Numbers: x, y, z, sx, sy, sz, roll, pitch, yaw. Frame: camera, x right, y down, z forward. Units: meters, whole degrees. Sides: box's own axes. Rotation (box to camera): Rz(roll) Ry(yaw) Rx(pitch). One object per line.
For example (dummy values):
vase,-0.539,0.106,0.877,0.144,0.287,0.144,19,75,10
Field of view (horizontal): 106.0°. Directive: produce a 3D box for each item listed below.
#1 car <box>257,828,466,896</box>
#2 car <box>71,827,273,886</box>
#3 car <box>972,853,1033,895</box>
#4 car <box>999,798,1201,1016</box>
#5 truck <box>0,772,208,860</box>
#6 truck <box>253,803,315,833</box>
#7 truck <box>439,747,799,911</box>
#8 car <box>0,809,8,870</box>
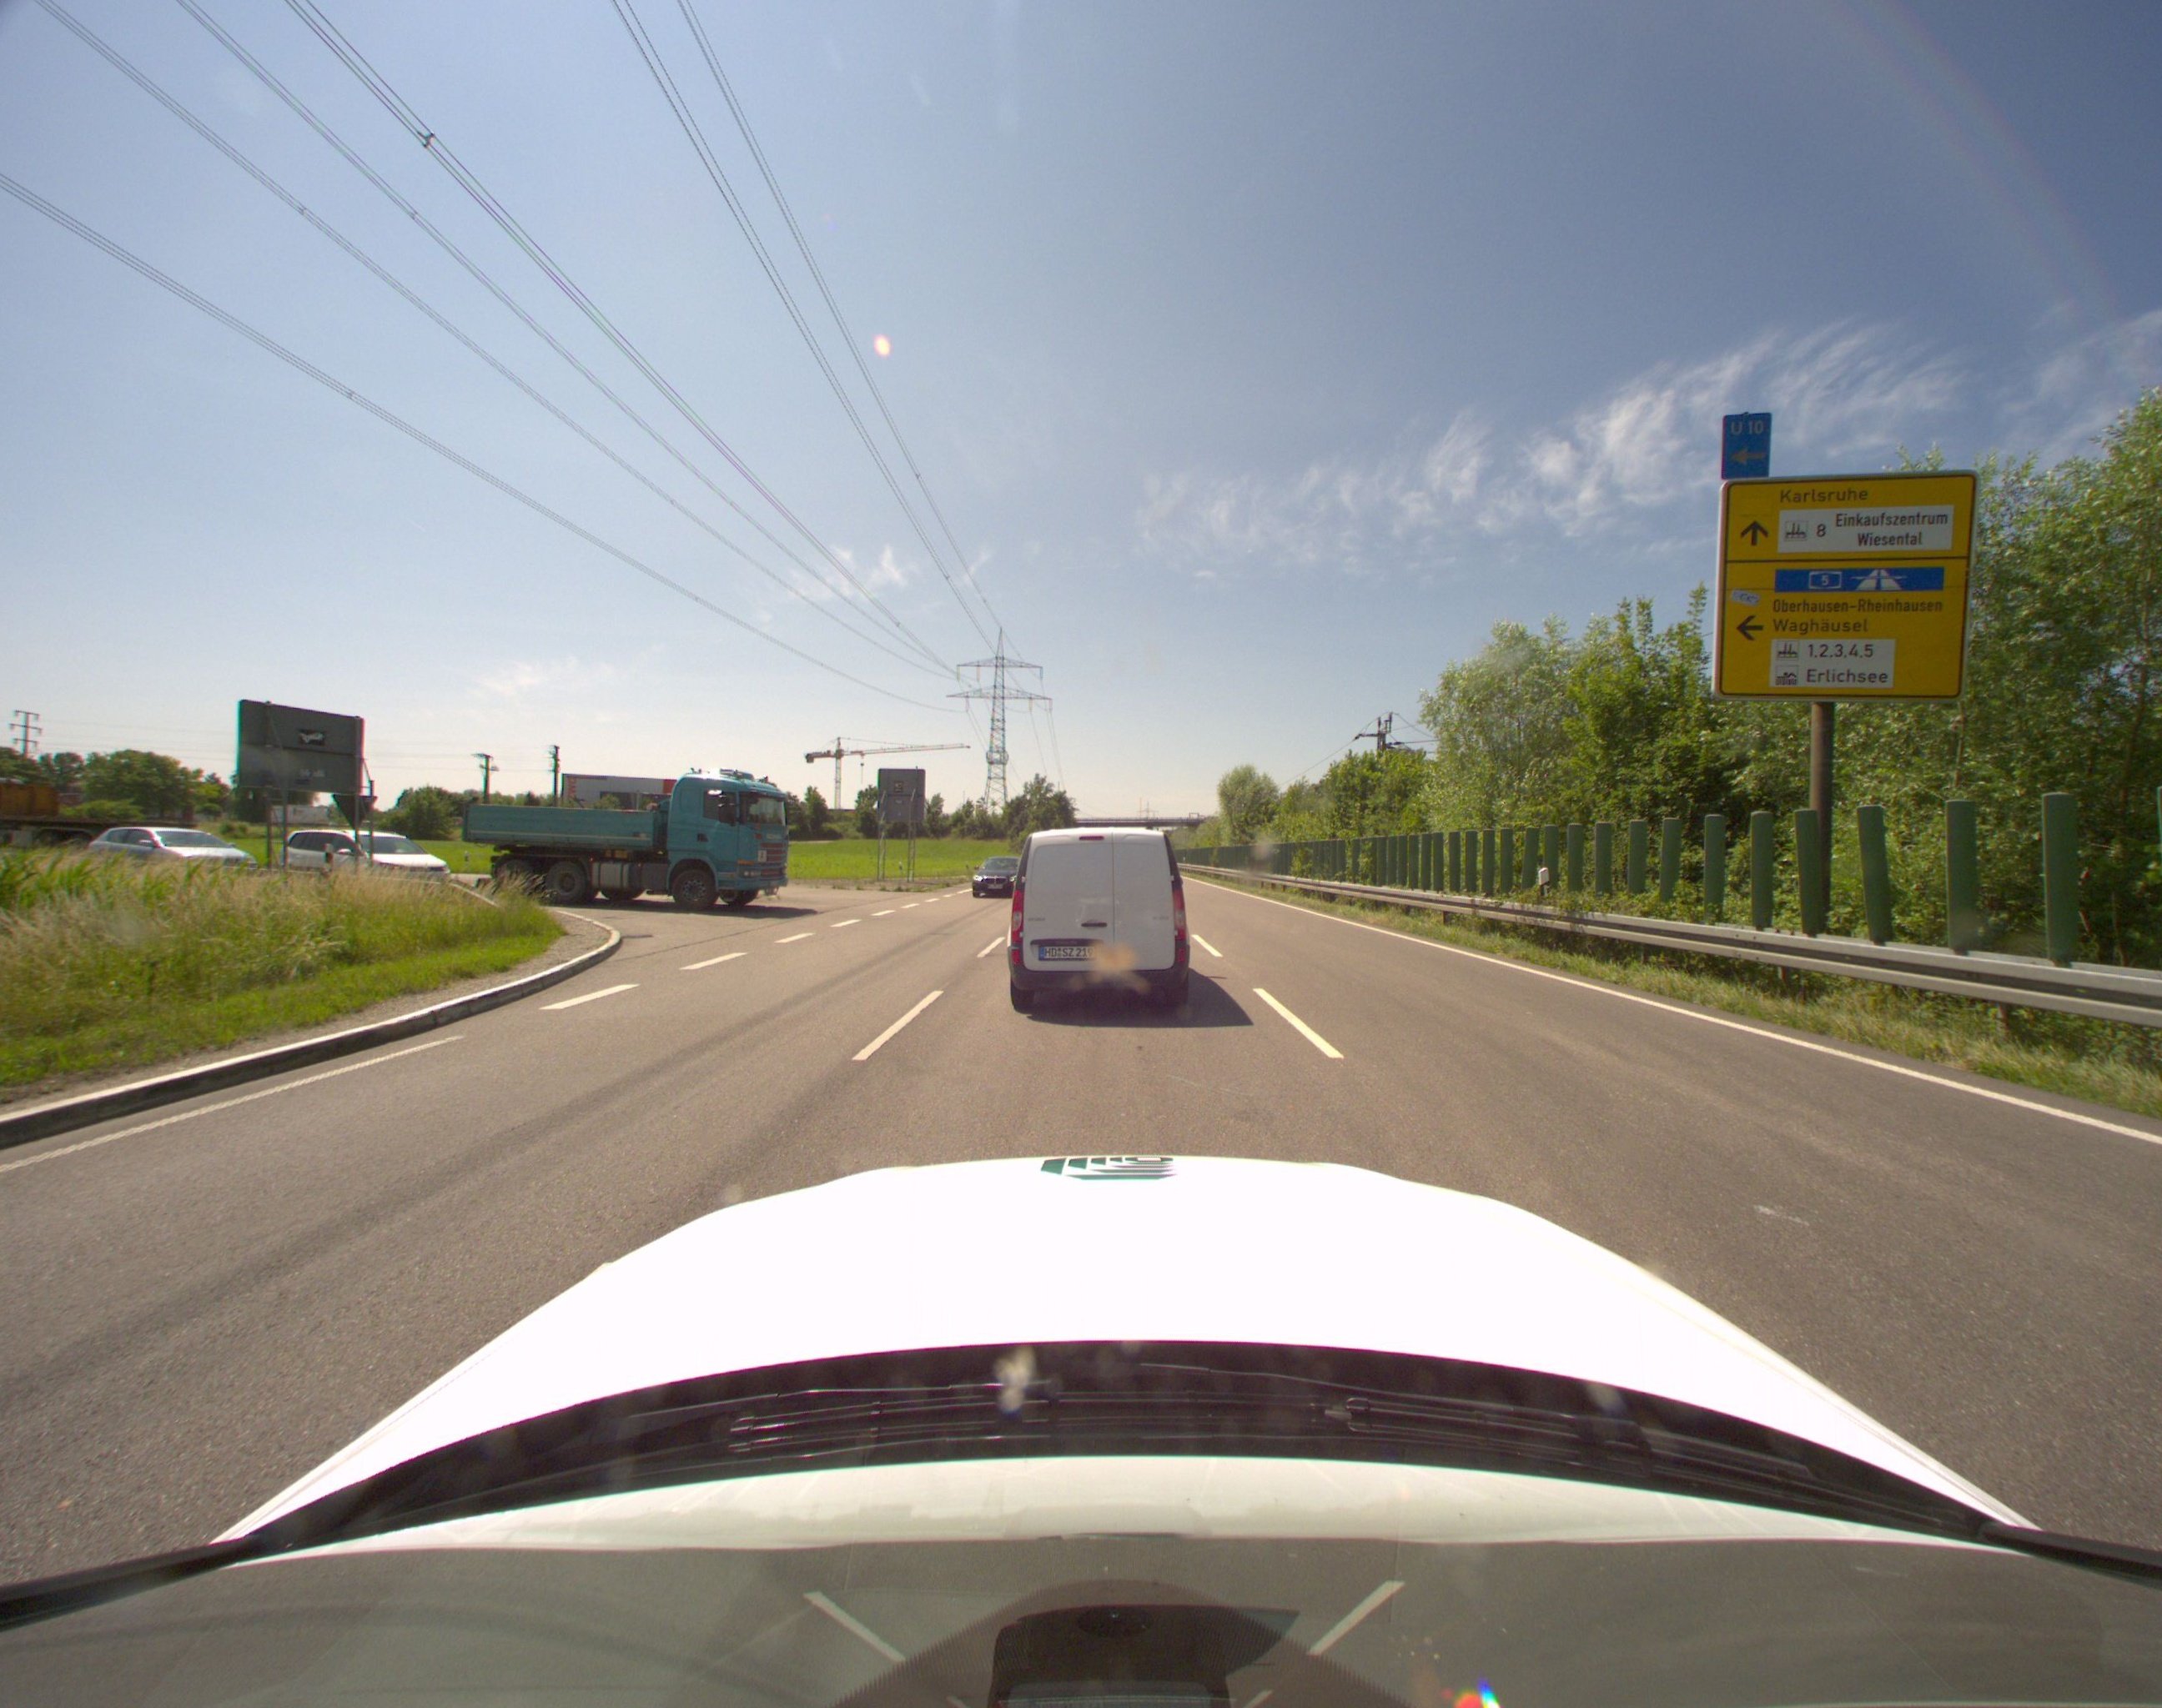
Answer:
car,-19.019,0.174,21.577,4.507,1.612,1.976,1,0,16
car,-25.118,0.050,22.554,4.402,1.470,1.724,1,0,12
car,-2.833,0.690,30.145,1.775,1.464,4.001,0,0,1
car,0.220,0.482,9.434,1.820,1.971,4.001,0,0,1
truck,-40.633,-1.458,32.298,9.621,3.288,2.834,0,1,5
truck,-139.583,-6.213,142.878,3.697,4.646,13.128,1,0,-26
truck,-11.777,-0.627,21.156,7.870,3.734,2.500,2,0,3
car,-35.733,-0.503,24.510,4.906,1.867,2.094,2,1,10
